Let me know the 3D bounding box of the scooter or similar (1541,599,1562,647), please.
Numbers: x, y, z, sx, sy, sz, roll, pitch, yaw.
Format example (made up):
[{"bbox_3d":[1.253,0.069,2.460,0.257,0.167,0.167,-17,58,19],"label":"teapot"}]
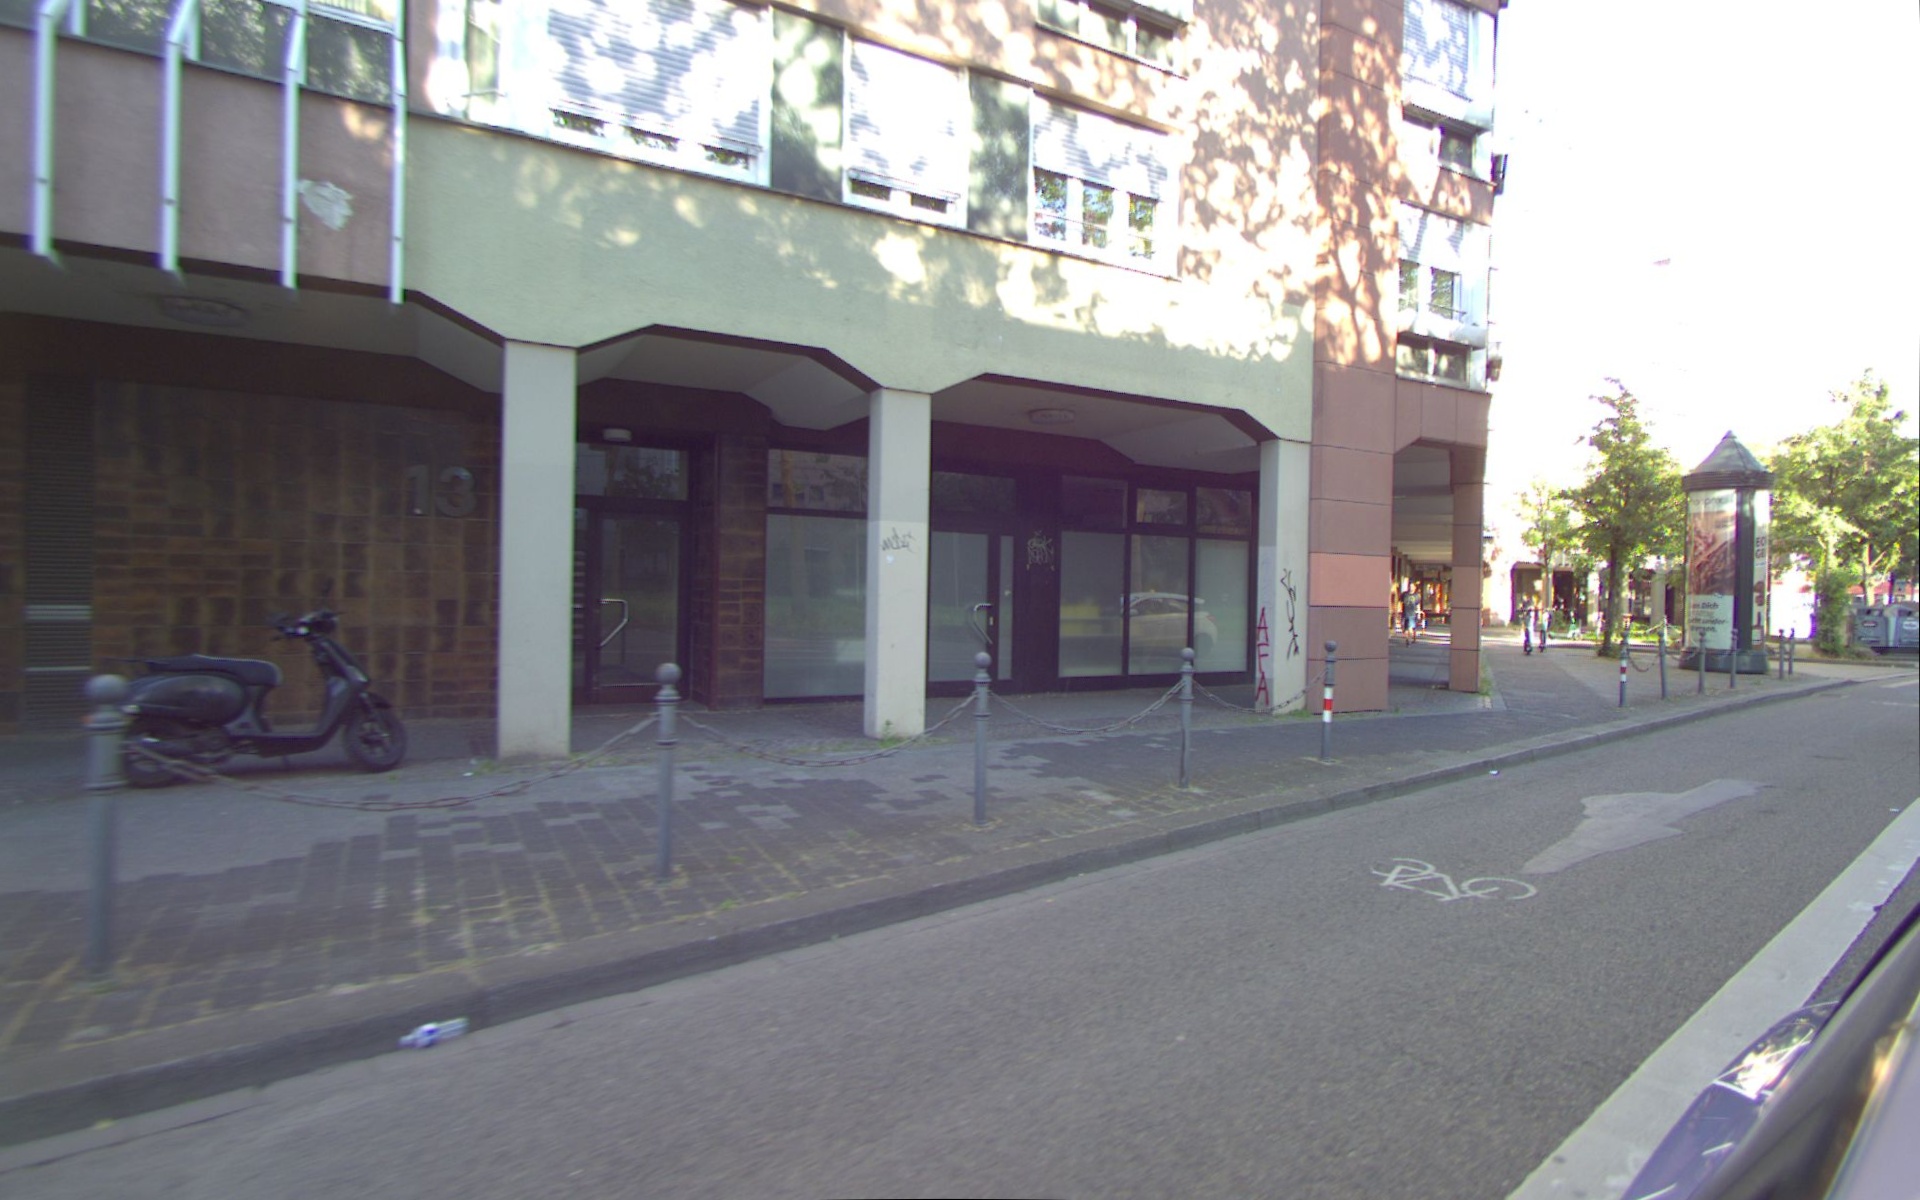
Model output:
[{"bbox_3d":[16.523,0.615,28.269,0.482,1.290,1.435,1,0,30],"label":"scooter or similar"}]

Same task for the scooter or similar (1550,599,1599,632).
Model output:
[{"bbox_3d":[22.802,0.569,37.571,0.548,1.160,1.460,1,0,-34],"label":"scooter or similar"}]

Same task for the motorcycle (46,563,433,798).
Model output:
[{"bbox_3d":[-4.754,0.476,6.827,2.053,1.390,0.489,1,0,-40],"label":"motorcycle"}]

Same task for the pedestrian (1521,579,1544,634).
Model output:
[{"bbox_3d":[21.345,0.240,37.731,0.637,2.006,0.766,1,0,36],"label":"pedestrian"}]

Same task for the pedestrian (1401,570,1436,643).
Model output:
[{"bbox_3d":[12.938,0.176,28.548,0.812,2.006,0.839,1,0,31],"label":"pedestrian"}]

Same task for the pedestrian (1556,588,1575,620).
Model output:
[{"bbox_3d":[35.127,0.202,58.682,0.767,1.828,0.722,1,0,17],"label":"pedestrian"}]

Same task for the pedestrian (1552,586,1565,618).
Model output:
[{"bbox_3d":[35.600,0.126,60.178,0.619,1.894,0.699,1,0,36],"label":"pedestrian"}]

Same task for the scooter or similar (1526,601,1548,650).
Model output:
[{"bbox_3d":[15.011,0.646,26.317,0.482,1.232,1.435,1,0,30],"label":"scooter or similar"}]
